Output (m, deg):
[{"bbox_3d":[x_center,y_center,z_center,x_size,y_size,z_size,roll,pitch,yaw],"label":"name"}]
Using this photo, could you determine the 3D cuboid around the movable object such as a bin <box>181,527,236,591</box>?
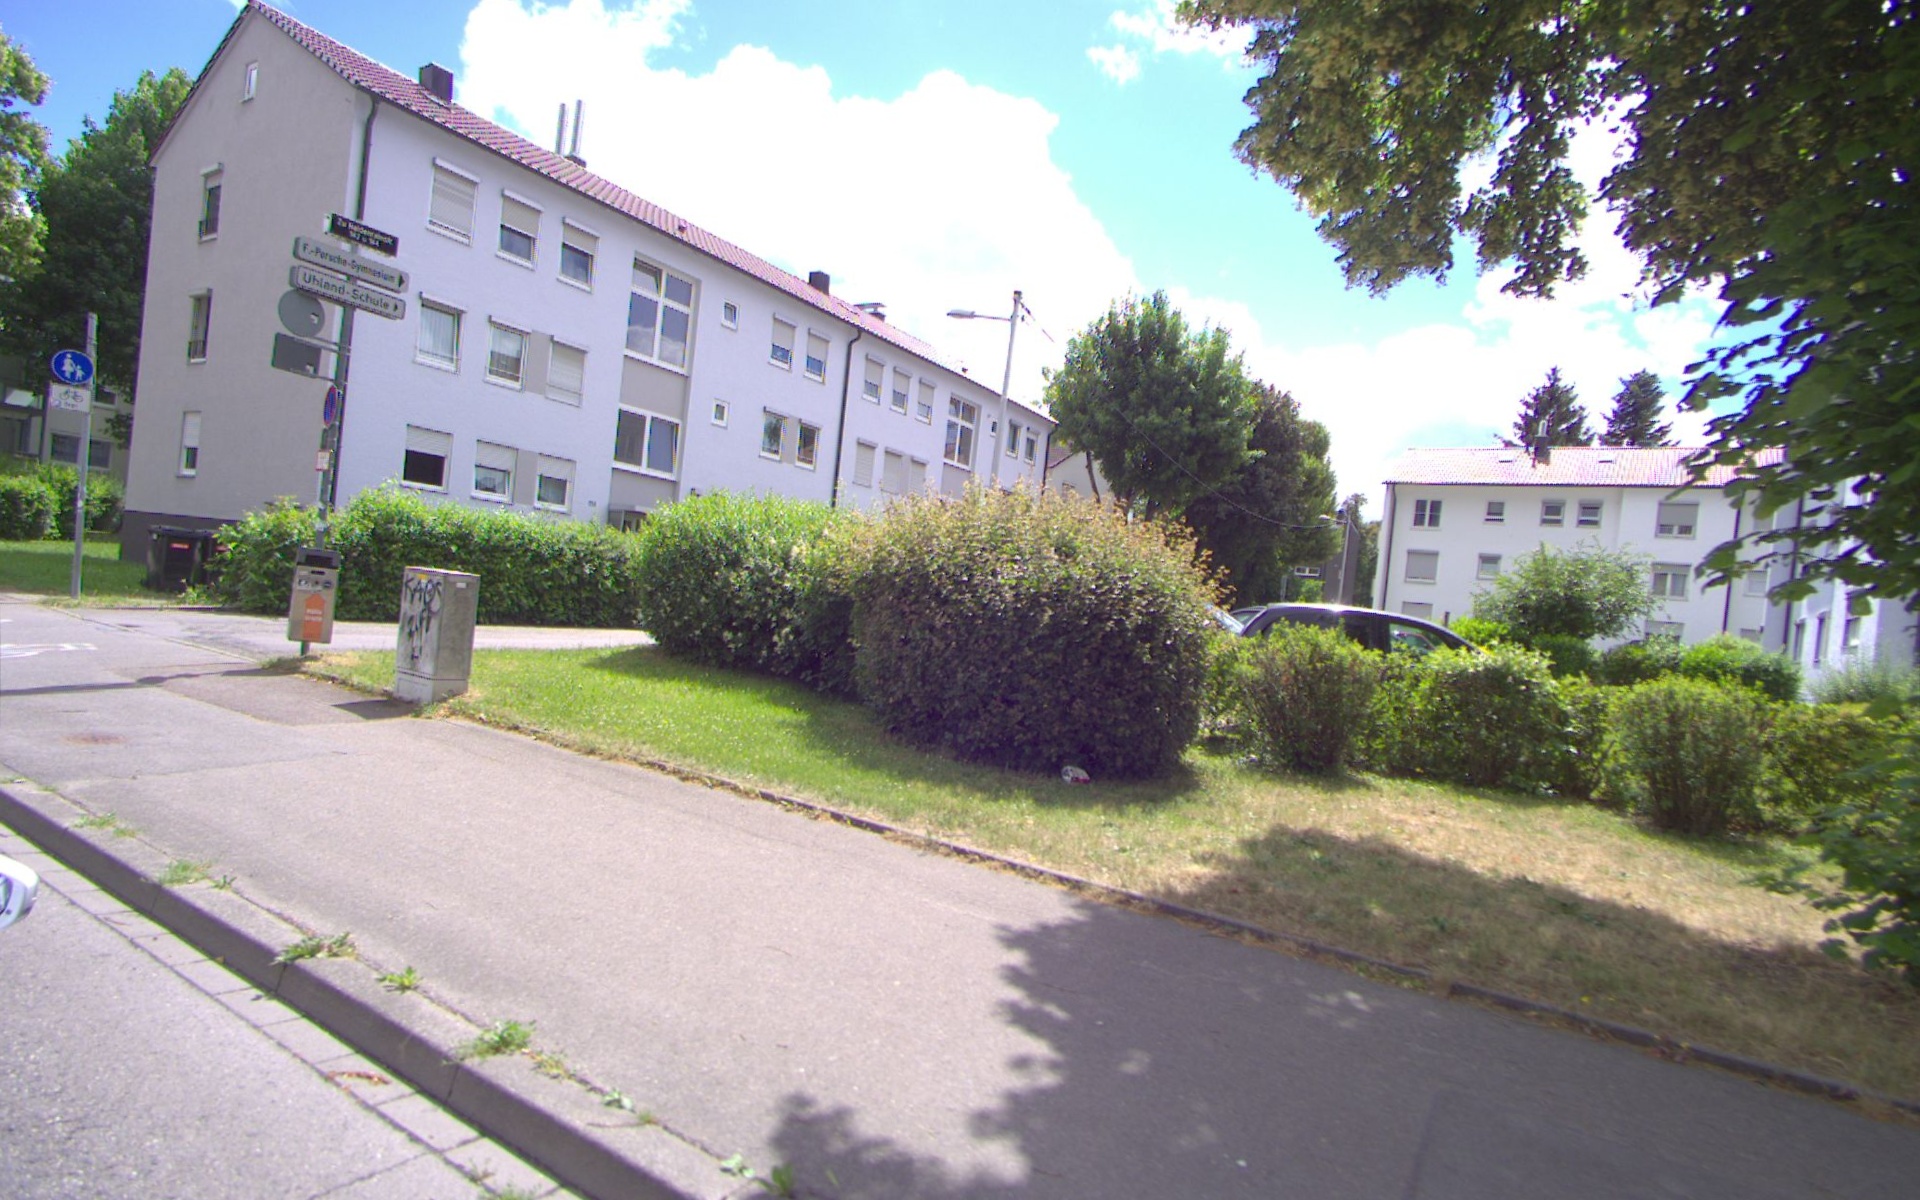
[{"bbox_3d":[-12.213,-0.668,16.348,0.542,0.959,0.500,7,2,32],"label":"movable object such as a bin"}]

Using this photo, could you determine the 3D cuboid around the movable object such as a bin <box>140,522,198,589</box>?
[{"bbox_3d":[-12.440,-0.693,15.823,0.571,0.967,0.496,7,2,32],"label":"movable object such as a bin"}]

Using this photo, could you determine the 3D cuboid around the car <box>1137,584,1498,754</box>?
[{"bbox_3d":[4.223,0.778,12.016,3.681,1.432,1.679,7,-2,32],"label":"car"}]

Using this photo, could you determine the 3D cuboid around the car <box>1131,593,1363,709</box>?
[{"bbox_3d":[5.344,0.924,18.809,3.681,1.649,1.830,7,0,32],"label":"car"}]
